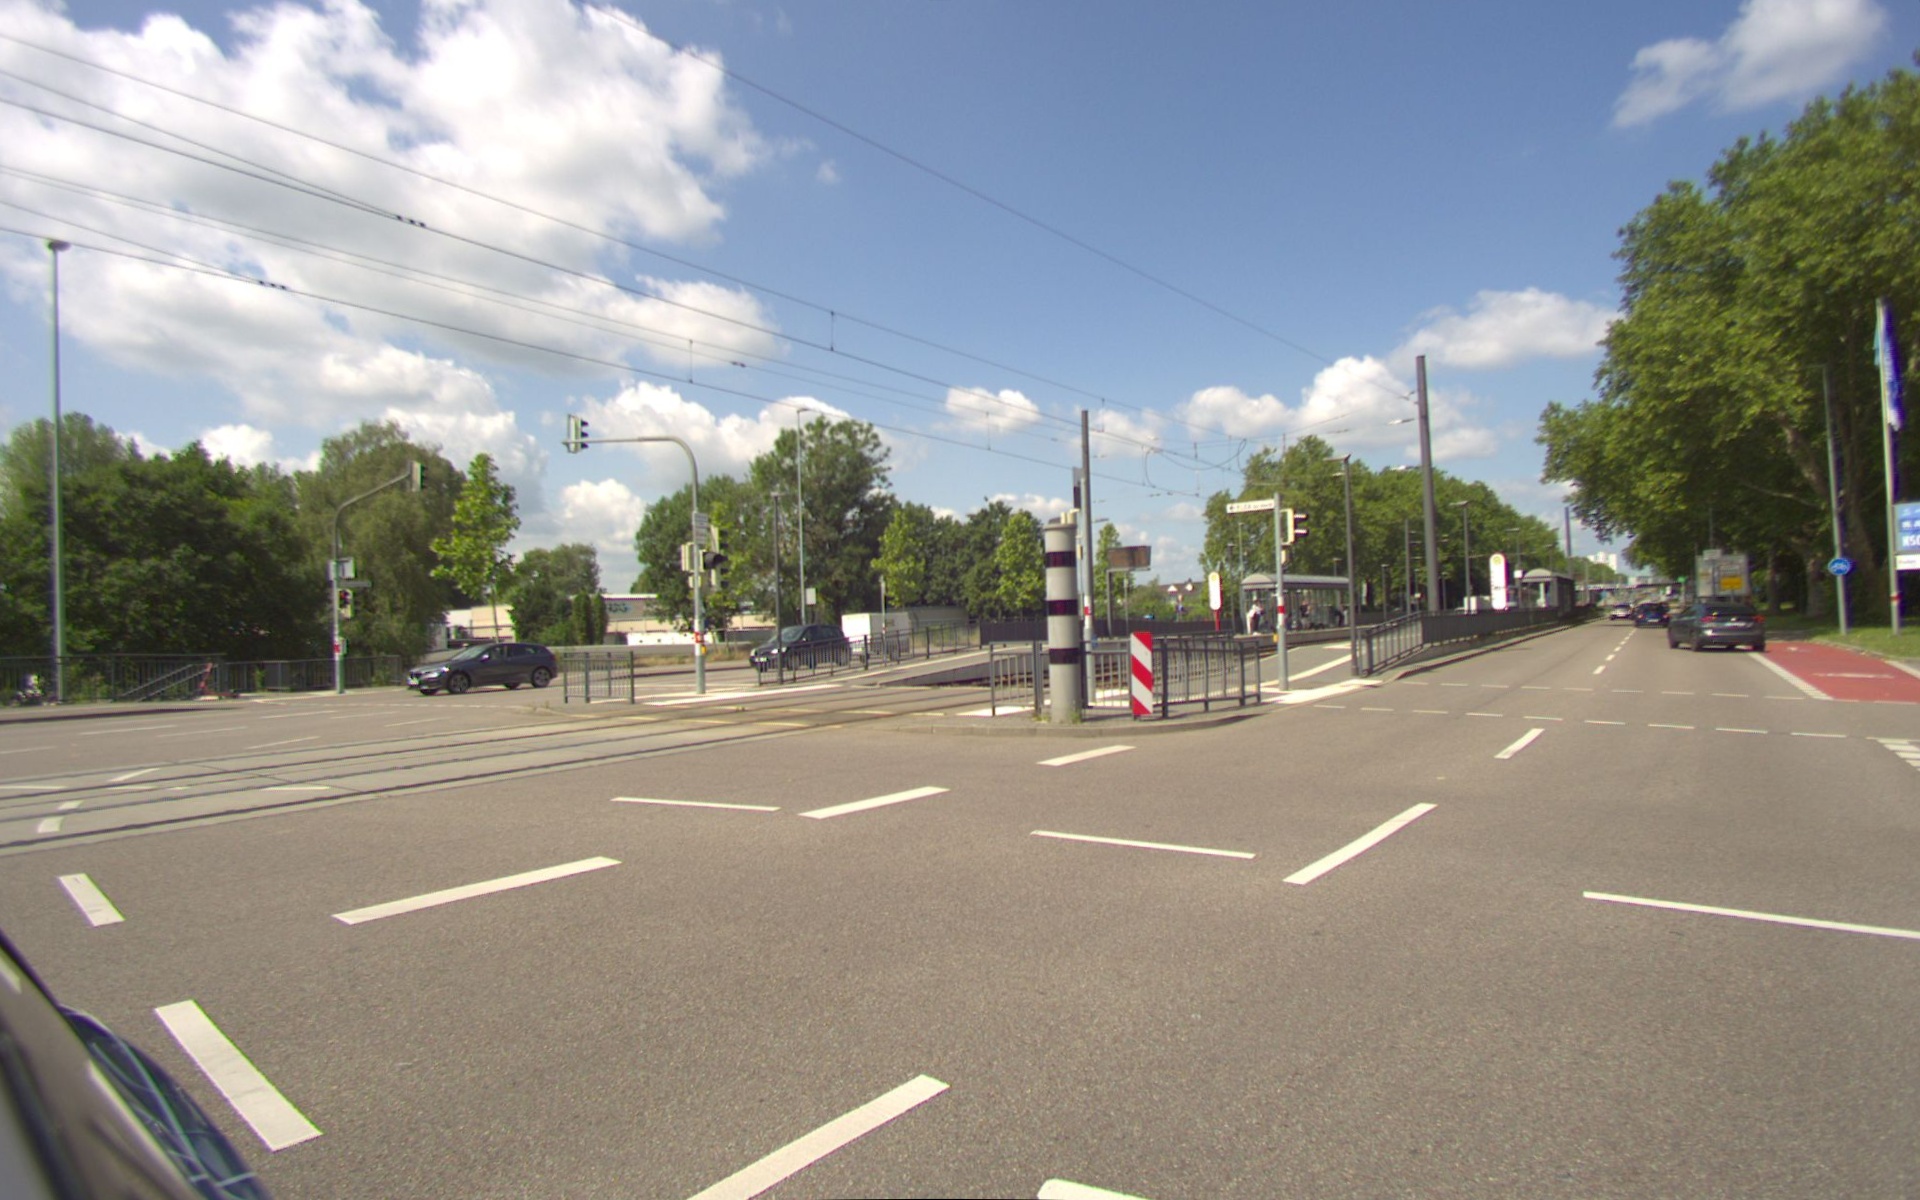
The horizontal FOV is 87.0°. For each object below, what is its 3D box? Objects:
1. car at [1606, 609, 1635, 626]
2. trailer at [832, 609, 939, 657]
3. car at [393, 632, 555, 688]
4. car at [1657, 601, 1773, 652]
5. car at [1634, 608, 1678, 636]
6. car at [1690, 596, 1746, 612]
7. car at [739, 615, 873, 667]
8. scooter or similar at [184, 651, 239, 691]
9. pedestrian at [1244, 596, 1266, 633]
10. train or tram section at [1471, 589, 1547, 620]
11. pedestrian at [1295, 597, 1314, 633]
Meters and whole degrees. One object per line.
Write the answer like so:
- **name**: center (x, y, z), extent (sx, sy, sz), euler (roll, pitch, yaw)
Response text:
- **car**: center (57.039, 1.503, 87.404), extent (1.994, 1.475, 3.955), euler (-2, -1, 33)
- **trailer**: center (-2.949, 1.307, 41.511), extent (1.818, 1.845, 5.129), euler (-1, -1, 30)
- **car**: center (-14.470, 1.762, 30.266), extent (1.728, 1.458, 4.016), euler (-4, -2, 39)
- **car**: center (23.501, 0.796, 31.664), extent (2.011, 1.388, 4.215), euler (-3, 0, 25)
- **car**: center (41.483, 1.275, 60.397), extent (1.994, 1.608, 3.955), euler (-2, -1, 33)
- **car**: center (76.470, 0.411, 102.133), extent (1.965, 1.475, 4.013), euler (-2, 0, -26)
- **car**: center (-5.515, 1.462, 36.971), extent (1.992, 1.586, 5.199), euler (-3, 0, 30)
- **scooter or similar**: center (-21.609, 2.036, 29.246), extent (0.342, 1.107, 1.235), euler (-3, -2, 34)
- **pedestrian**: center (13.765, 0.677, 47.174), extent (0.759, 1.722, 0.784), euler (-2, -2, 32)
- **train or tram section**: center (62.197, 0.649, 114.036), extent (4.520, 3.055, 24.827), euler (-2, -2, 35)
- **pedestrian**: center (18.298, 0.792, 53.738), extent (0.758, 1.867, 0.784), euler (-2, -2, 29)
